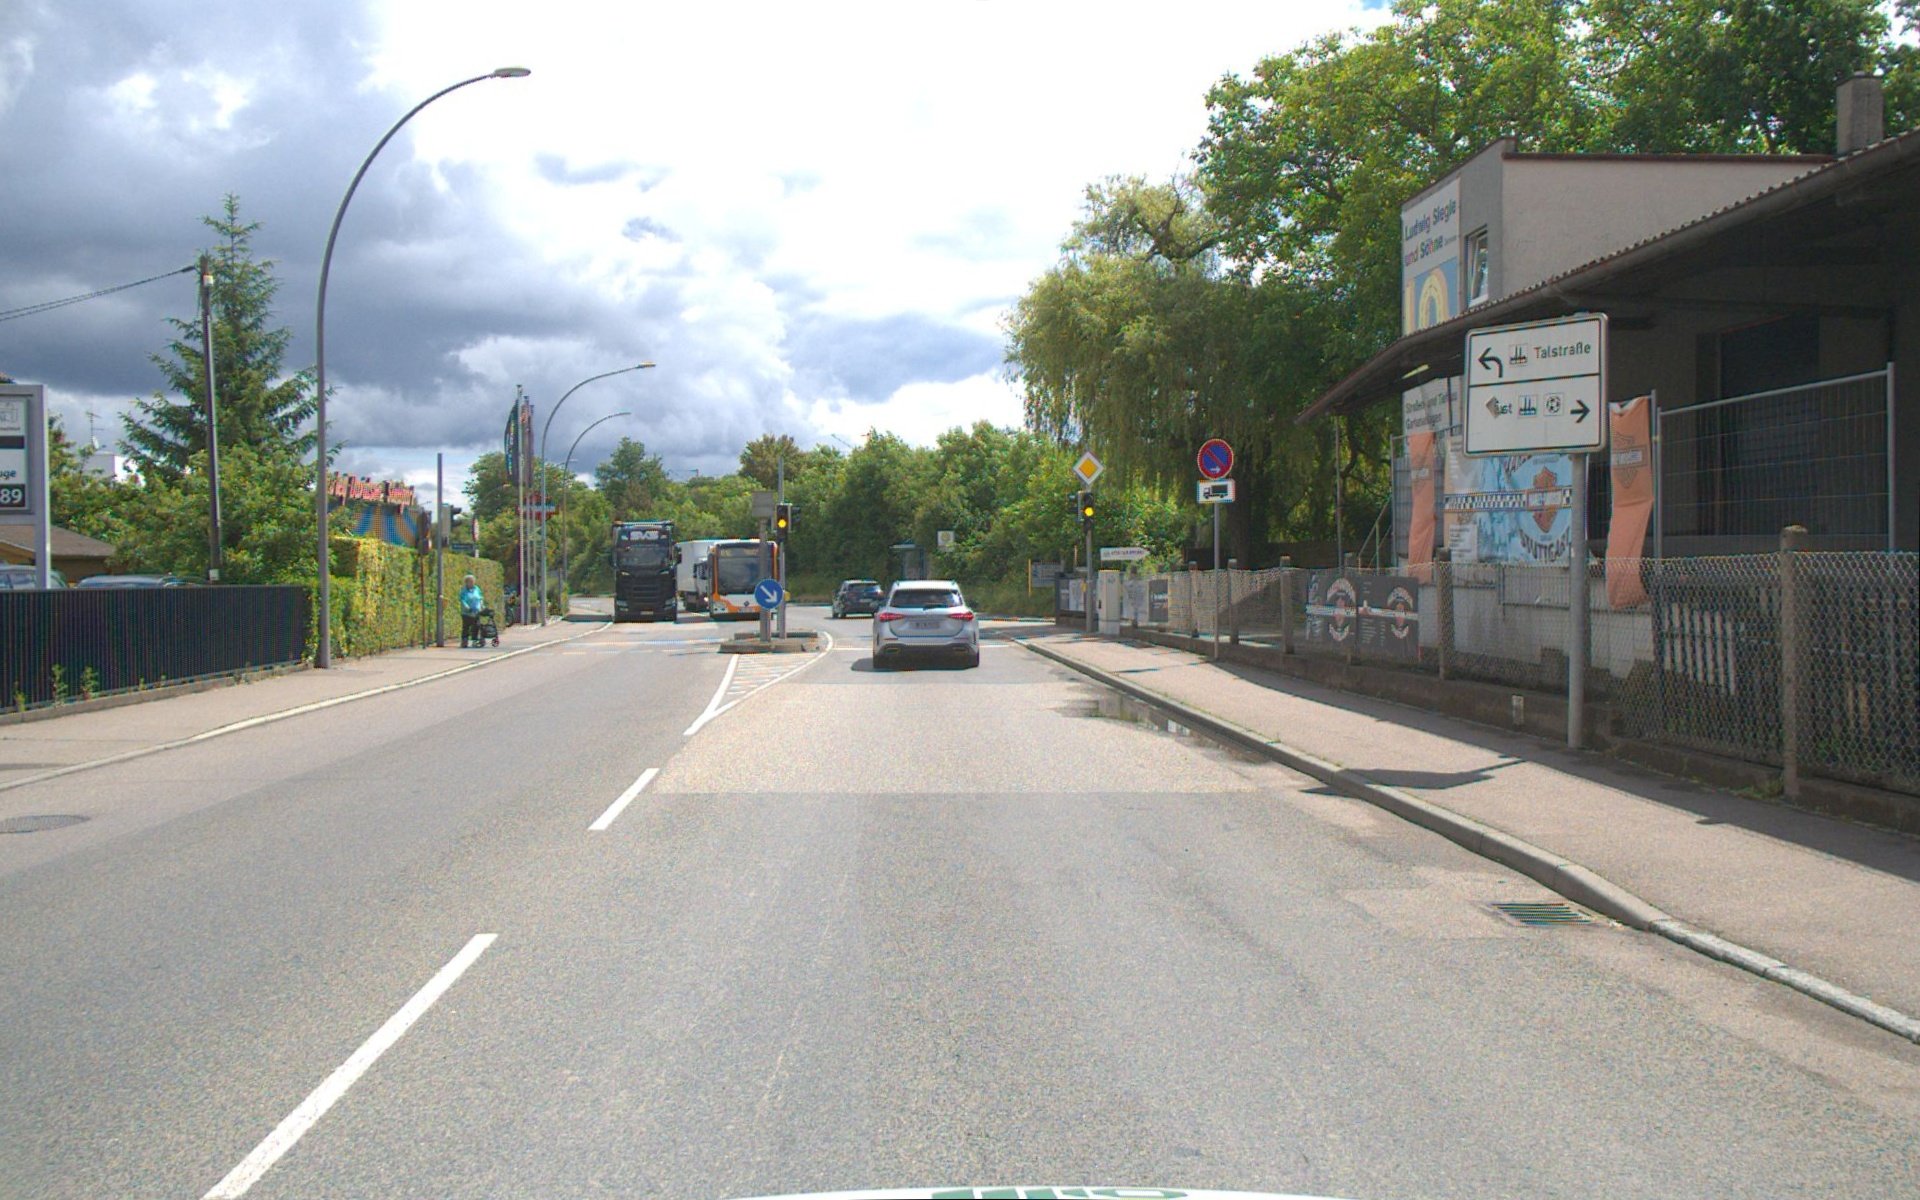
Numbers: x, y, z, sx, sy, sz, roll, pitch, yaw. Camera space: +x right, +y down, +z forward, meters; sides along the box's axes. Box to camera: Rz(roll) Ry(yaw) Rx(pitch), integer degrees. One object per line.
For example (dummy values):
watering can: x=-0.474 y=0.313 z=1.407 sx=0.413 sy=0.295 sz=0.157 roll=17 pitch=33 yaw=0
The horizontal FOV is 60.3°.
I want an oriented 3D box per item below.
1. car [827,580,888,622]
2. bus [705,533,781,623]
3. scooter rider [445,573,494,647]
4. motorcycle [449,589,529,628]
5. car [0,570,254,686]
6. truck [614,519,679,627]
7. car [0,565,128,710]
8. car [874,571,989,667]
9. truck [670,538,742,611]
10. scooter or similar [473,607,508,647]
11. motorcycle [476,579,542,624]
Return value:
car: x=-3.948 y=0.007 z=63.302 sx=1.851 sy=1.534 sz=3.990 roll=0 pitch=1 yaw=-11
bus: x=-8.982 y=-0.888 z=68.291 sx=2.725 sy=3.323 sz=12.102 roll=-2 pitch=1 yaw=-8
scooter rider: x=-11.015 y=0.217 z=37.162 sx=0.861 sy=1.617 sz=0.795 roll=-1 pitch=1 yaw=-4
motorcycle: x=-15.634 y=0.276 z=54.880 sx=2.447 sy=1.239 sz=0.927 roll=0 pitch=0 yaw=19
car: x=-12.237 y=0.347 z=24.465 sx=2.112 sy=1.533 sz=4.262 roll=-1 pitch=1 yaw=-6
truck: x=-13.098 y=-1.089 z=69.655 sx=2.384 sy=4.203 sz=9.130 roll=1 pitch=0 yaw=-9
car: x=-11.920 y=0.422 z=19.904 sx=1.993 sy=1.622 sz=4.278 roll=-1 pitch=1 yaw=-6
car: x=-0.554 y=0.282 z=28.630 sx=1.847 sy=1.534 sz=3.998 roll=0 pitch=1 yaw=-3
truck: x=-13.517 y=-1.305 z=87.323 sx=2.792 sy=3.602 sz=9.688 roll=-1 pitch=1 yaw=-14
scooter or similar: x=-10.460 y=0.600 z=36.877 sx=0.599 sy=0.846 sz=0.659 roll=1 pitch=0 yaw=-4
motorcycle: x=-17.309 y=0.048 z=63.460 sx=2.254 sy=1.713 sz=1.042 roll=0 pitch=0 yaw=19
